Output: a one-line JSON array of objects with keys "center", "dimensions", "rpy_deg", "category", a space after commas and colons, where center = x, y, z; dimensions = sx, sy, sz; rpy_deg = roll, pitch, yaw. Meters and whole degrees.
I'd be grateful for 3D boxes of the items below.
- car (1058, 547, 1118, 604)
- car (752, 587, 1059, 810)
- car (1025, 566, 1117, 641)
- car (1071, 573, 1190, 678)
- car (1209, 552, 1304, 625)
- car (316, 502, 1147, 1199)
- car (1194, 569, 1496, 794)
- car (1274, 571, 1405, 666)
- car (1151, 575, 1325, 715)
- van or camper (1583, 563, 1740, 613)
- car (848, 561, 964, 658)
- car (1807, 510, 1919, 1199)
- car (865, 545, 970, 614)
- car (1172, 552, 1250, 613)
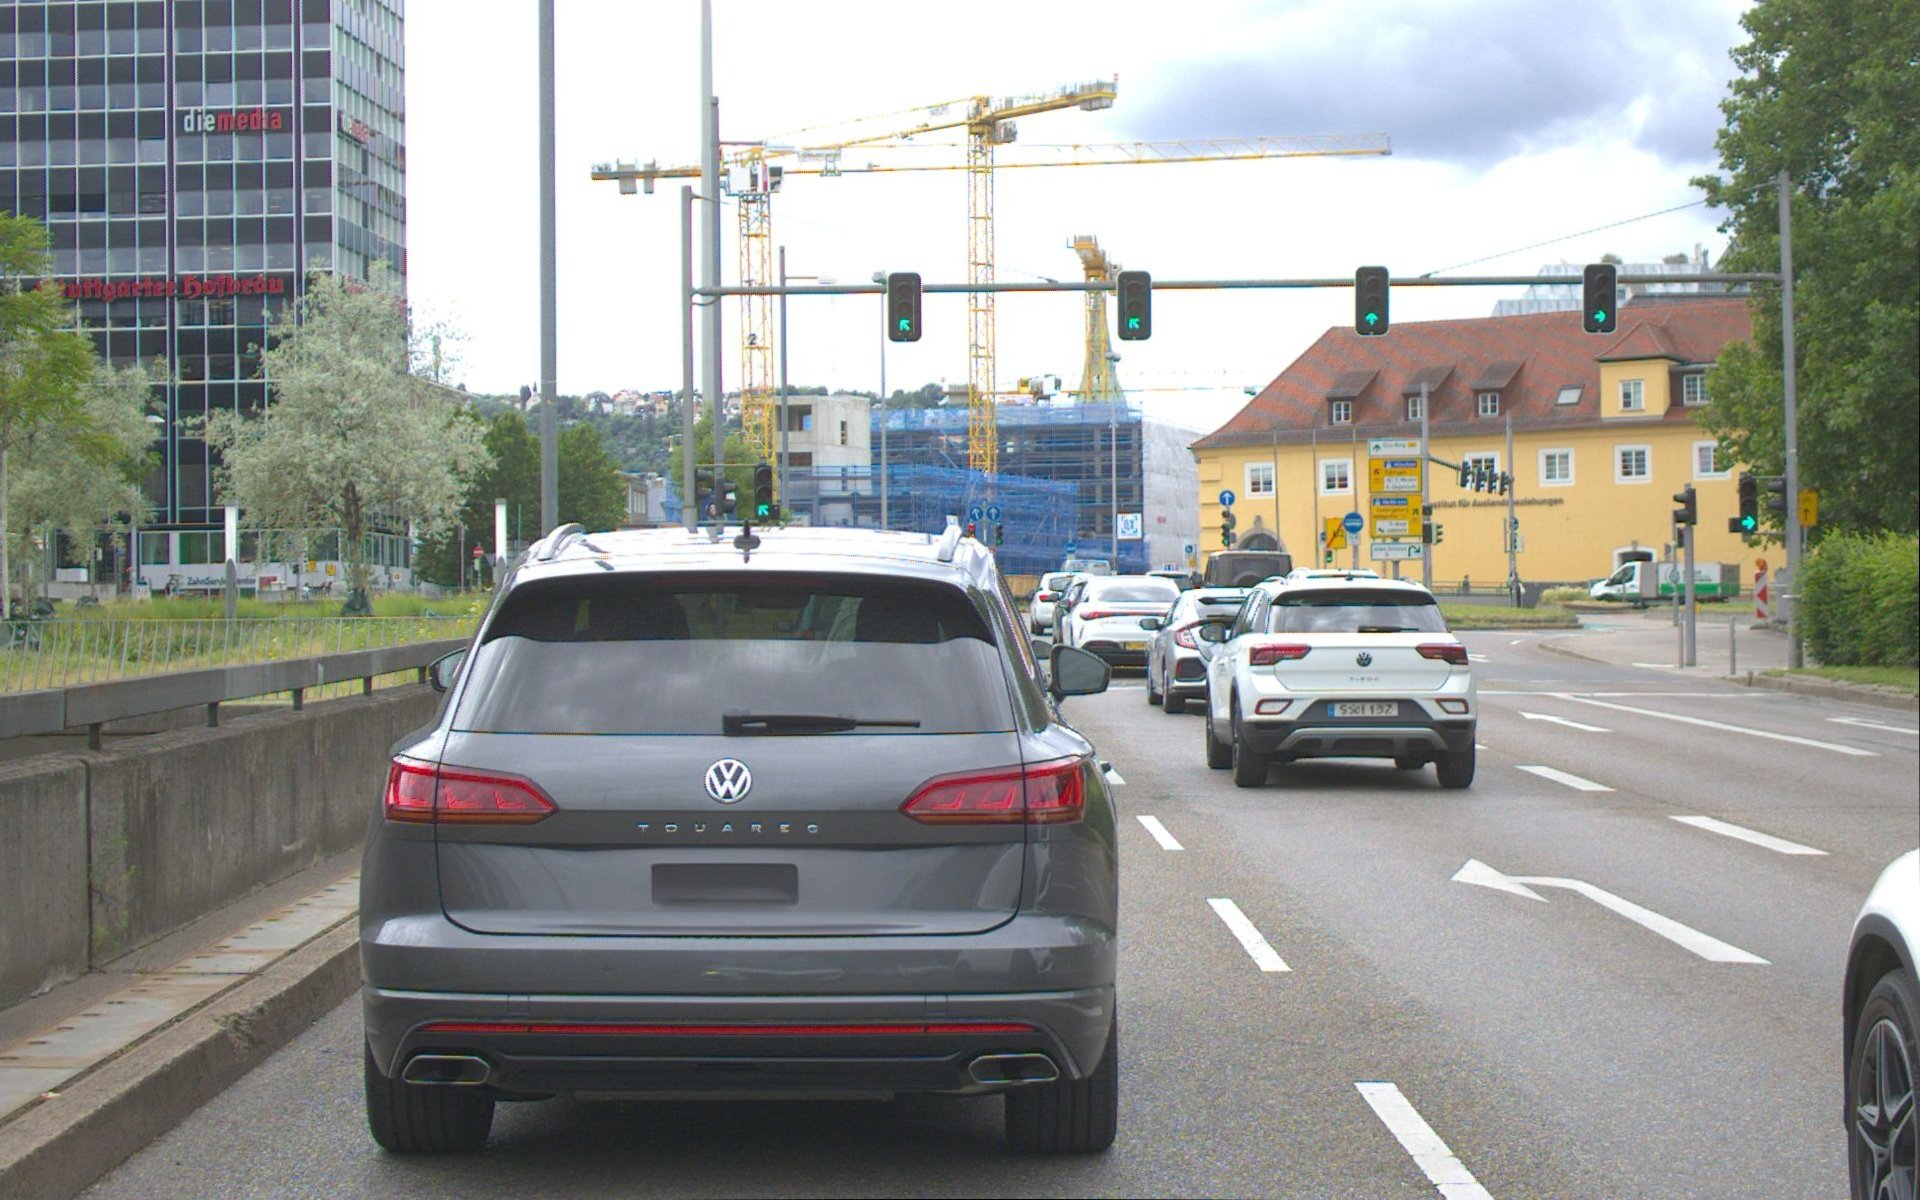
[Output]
[{"center": [4.610, -0.901, 124.640], "dimensions": [1.993, 2.007, 4.000], "rpy_deg": [0, 1, 0], "category": "car"}, {"center": [-0.369, 0.633, 24.341], "dimensions": [1.993, 1.382, 4.000], "rpy_deg": [0, 1, 0], "category": "car"}, {"center": [2.640, 0.080, 81.945], "dimensions": [2.139, 1.722, 4.070], "rpy_deg": [0, 0, 2], "category": "car"}, {"center": [2.605, 0.351, 52.141], "dimensions": [1.719, 1.497, 3.981], "rpy_deg": [0, 1, 3], "category": "car"}, {"center": [6.299, -0.260, 73.337], "dimensions": [1.719, 1.497, 3.981], "rpy_deg": [0, 1, 1], "category": "car"}, {"center": [-0.548, 0.570, 10.043], "dimensions": [1.933, 1.641, 4.000], "rpy_deg": [0, 1, 0], "category": "car"}, {"center": [2.901, 0.570, 26.638], "dimensions": [1.893, 1.580, 3.801], "rpy_deg": [0, 1, 0], "category": "car"}, {"center": [6.316, 0.289, 57.597], "dimensions": [1.803, 1.497, 3.981], "rpy_deg": [0, 1, 1], "category": "car"}, {"center": [3.166, 0.476, 39.797], "dimensions": [1.719, 1.497, 4.144], "rpy_deg": [0, 1, 1], "category": "car"}, {"center": [28.672, -0.499, 140.581], "dimensions": [6.017, 2.007, 2.015], "rpy_deg": [0, 0, 36], "category": "van or camper"}, {"center": [-0.864, 0.125, 55.828], "dimensions": [1.814, 1.491, 3.906], "rpy_deg": [0, 1, 0], "category": "car"}, {"center": [2.763, 0.670, 5.430], "dimensions": [1.819, 1.641, 4.379], "rpy_deg": [0, 1, 1], "category": "car"}, {"center": [-0.929, -0.487, 77.683], "dimensions": [2.245, 1.497, 4.611], "rpy_deg": [0, 1, 1], "category": "car"}, {"center": [6.331, -0.463, 86.973], "dimensions": [1.719, 1.497, 3.981], "rpy_deg": [0, 1, 1], "category": "car"}]
